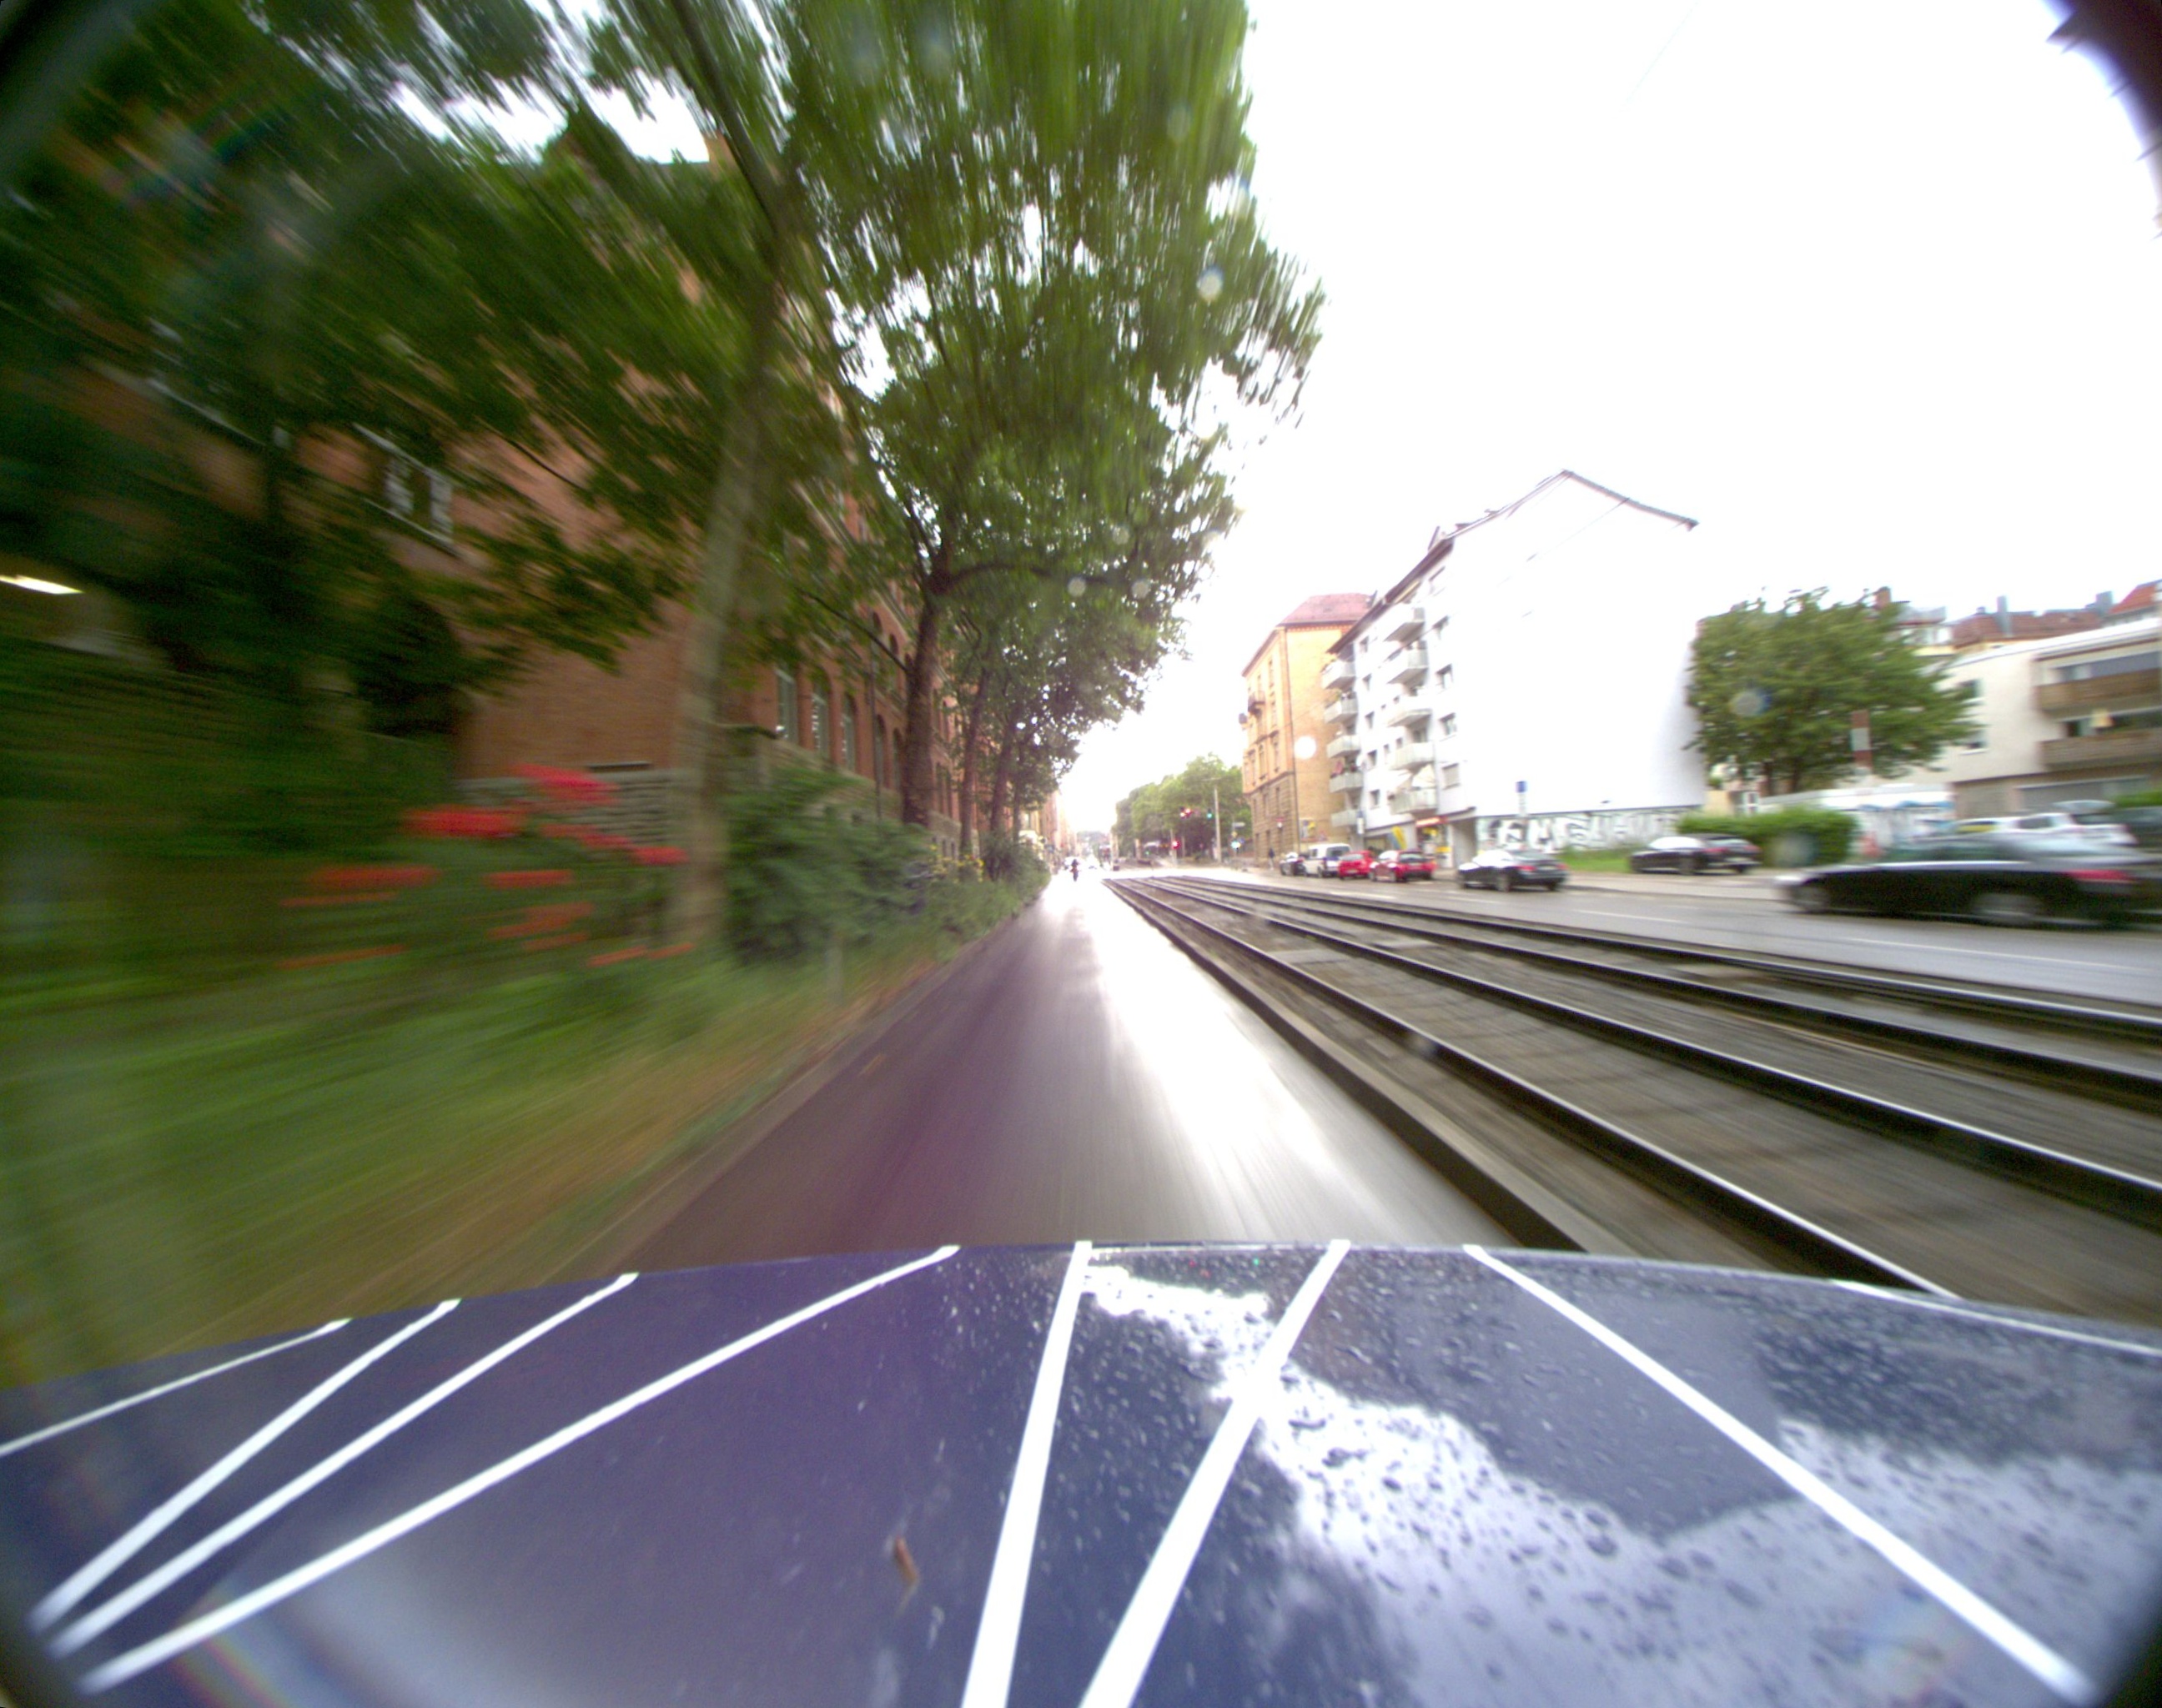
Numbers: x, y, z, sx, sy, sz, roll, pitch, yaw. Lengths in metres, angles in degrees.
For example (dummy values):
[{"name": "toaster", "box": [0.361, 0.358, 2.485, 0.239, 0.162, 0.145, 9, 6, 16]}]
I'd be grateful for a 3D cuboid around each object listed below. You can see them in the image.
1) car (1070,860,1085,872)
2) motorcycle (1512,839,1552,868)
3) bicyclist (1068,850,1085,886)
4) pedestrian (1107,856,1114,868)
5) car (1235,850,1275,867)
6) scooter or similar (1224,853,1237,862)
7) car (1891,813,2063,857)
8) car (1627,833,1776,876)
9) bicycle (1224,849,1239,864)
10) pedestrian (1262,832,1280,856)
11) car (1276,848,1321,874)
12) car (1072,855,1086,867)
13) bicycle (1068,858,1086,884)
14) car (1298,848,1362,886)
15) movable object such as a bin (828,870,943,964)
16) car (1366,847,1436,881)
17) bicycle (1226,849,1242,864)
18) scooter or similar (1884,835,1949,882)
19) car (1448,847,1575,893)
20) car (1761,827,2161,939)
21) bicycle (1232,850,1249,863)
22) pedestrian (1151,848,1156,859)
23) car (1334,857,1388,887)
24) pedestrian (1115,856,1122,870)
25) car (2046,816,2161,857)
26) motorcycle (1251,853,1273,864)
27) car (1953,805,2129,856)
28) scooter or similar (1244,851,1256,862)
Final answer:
[{"name": "car", "box": [-0.428, 1.532, 101.292, 1.884, 1.438, 4.000, -3, 0, 0]}, {"name": "motorcycle", "box": [20.477, -0.041, 34.524, 0.641, 1.193, 1.784, -6, 2, -1]}, {"name": "bicyclist", "box": [-0.272, 0.887, 48.156, 0.920, 2.250, 1.288, -2, 0, 2]}, {"name": "pedestrian", "box": [3.990, 1.053, 101.952, 0.837, 1.595, 1.001, -2, 0, -1]}, {"name": "car", "box": [17.843, 0.481, 77.726, 3.803, 1.529, 1.774, -3, 0, -32]}, {"name": "scooter or similar", "box": [20.782, 0.539, 105.855, 1.720, 1.187, 0.478, -2, 0, -20]}, {"name": "car", "box": [32.349, -0.641, 27.612, 1.672, 1.392, 3.904, -2, -1, 1]}, {"name": "car", "box": [21.452, 0.038, 26.541, 1.874, 1.295, 4.480, -3, -1, 7]}, {"name": "bicycle", "box": [20.716, 0.345, 104.485, 1.896, 2.002, 0.518, -4, 1, -6]}, {"name": "pedestrian", "box": [15.970, -0.833, 63.779, 1.174, 1.917, 1.178, -3, 0, 3]}, {"name": "car", "box": [14.848, 0.481, 52.142, 1.737, 1.641, 4.363, -3, 0, 0]}, {"name": "car", "box": [-0.313, 1.106, 124.032, 1.825, 1.893, 5.991, -4, 0, 2]}, {"name": "bicycle", "box": [-0.240, 1.027, 48.176, 0.936, 1.545, 3.135, -2, 0, 2]}, {"name": "car", "box": [15.179, 0.780, 46.643, 2.075, 1.997, 5.302, -5, -1, 0]}, {"name": "movable object such as a bin", "box": [-3.193, 0.995, 12.520, 1.402, 1.444, 1.218, -1, -1, 16]}, {"name": "car", "box": [15.022, 0.456, 35.891, 1.657, 1.443, 4.074, -2, 0, 2]}, {"name": "bicycle", "box": [20.839, 0.339, 103.494, 1.896, 2.002, 0.518, -4, 1, -6]}, {"name": "scooter or similar", "box": [21.154, 0.122, 19.238, 1.295, 1.106, 0.379, -4, 0, -6]}, {"name": "car", "box": [14.710, 0.518, 26.316, 1.684, 1.388, 4.622, -2, 0, -1]}, {"name": "car", "box": [14.908, 0.392, 12.969, 1.857, 1.499, 4.989, -2, 0, -5]}, {"name": "bicycle", "box": [21.235, 0.344, 101.220, 2.096, 1.688, 0.556, -3, 0, -6]}, {"name": "pedestrian", "box": [14.373, -0.102, 150.689, 0.837, 2.050, 0.884, -2, 0, -3]}, {"name": "car", "box": [15.477, 0.983, 41.891, 1.781, 1.425, 3.989, -3, 0, 34]}, {"name": "pedestrian", "box": [4.992, 1.174, 101.915, 0.827, 1.788, 1.001, -2, 0, -1]}, {"name": "car", "box": [37.223, -0.637, 26.780, 1.672, 1.334, 3.742, -3, 1, 2]}, {"name": "motorcycle", "box": [23.237, 0.540, 97.637, 2.658, 1.363, 0.866, -2, 1, -6]}, {"name": "car", "box": [34.838, -0.837, 27.756, 1.671, 1.623, 3.904, -3, 1, 5]}, {"name": "scooter or similar", "box": [22.113, 0.335, 99.440, 1.507, 1.363, 0.452, -3, 0, -16]}]
